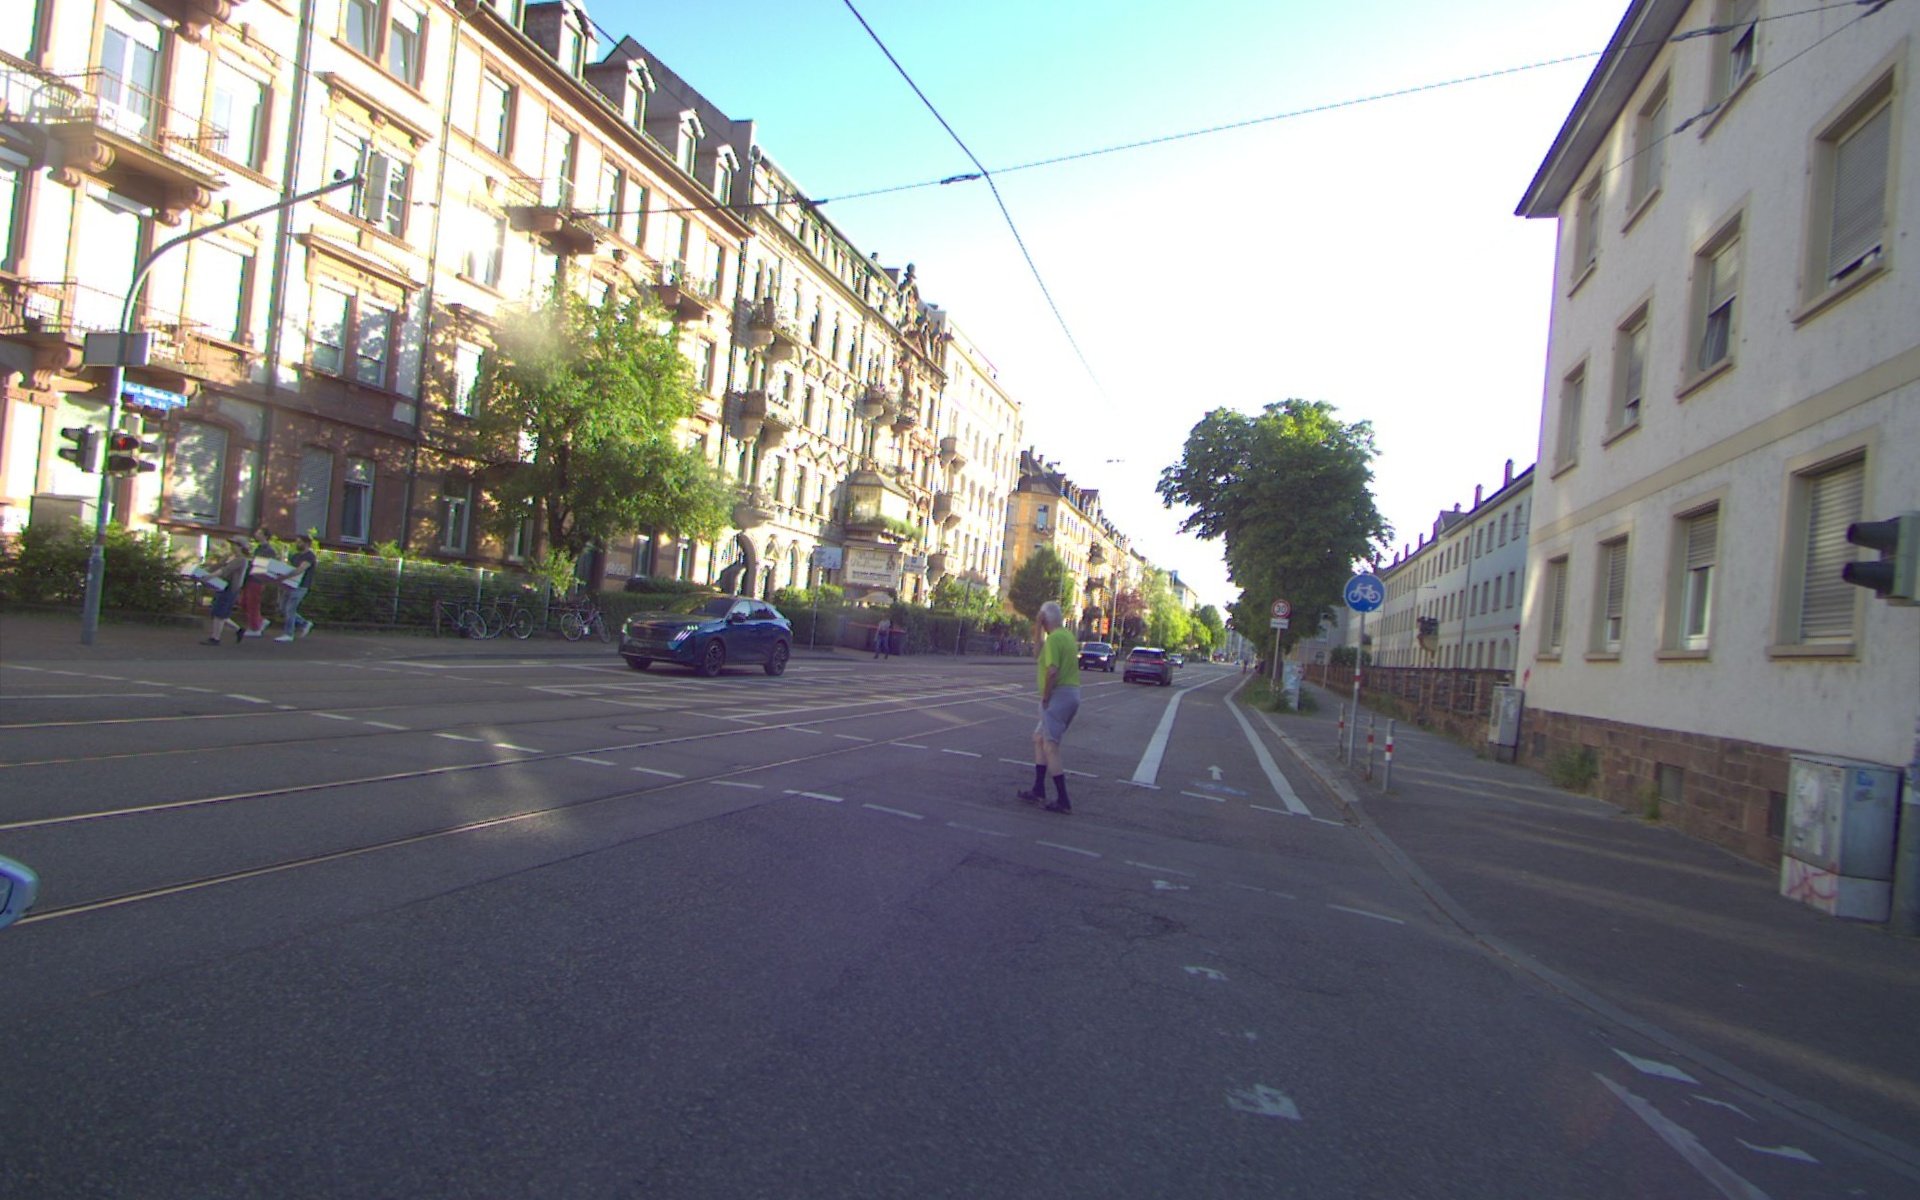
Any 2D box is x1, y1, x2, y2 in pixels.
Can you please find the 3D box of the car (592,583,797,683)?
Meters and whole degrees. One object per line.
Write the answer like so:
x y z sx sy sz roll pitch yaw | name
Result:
-5.276 0.719 20.715 1.912 1.669 4.413 5 -2 17 | car

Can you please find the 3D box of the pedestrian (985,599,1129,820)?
0.826 0.929 8.745 0.638 1.748 0.882 9 0 -28 | pedestrian

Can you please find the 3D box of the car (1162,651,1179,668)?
22.412 6.294 107.151 1.569 1.630 3.604 6 -2 13 | car

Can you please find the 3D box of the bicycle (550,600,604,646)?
-9.479 0.581 24.959 0.435 1.051 1.233 6 -1 22 | bicycle

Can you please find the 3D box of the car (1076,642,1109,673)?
7.459 3.219 56.457 1.507 1.542 3.480 6 -2 11 | car

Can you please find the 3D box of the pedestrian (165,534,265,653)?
-11.392 -0.085 15.396 0.701 1.685 0.896 9 1 34 | pedestrian

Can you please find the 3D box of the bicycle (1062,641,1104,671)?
9.919 4.499 81.106 3.184 2.041 0.932 6 0 12 | bicycle

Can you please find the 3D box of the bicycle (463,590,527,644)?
-10.399 0.393 22.525 0.435 1.121 1.233 6 -1 23 | bicycle

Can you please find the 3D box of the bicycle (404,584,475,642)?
-10.966 0.293 21.222 0.435 1.121 1.233 6 0 23 | bicycle

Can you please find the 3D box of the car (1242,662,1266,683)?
24.544 6.024 84.143 1.569 1.556 3.895 6 -2 13 | car

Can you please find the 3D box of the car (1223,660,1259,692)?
14.702 3.936 52.768 1.523 1.457 3.840 6 -2 13 | car

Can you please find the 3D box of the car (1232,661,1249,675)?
28.473 6.880 102.174 1.417 1.263 3.317 6 -2 18 | car

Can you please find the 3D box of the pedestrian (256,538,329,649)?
-11.154 -0.099 16.819 0.652 1.736 0.635 8 1 30 | pedestrian

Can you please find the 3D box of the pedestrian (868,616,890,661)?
-3.131 1.493 38.806 0.517 1.661 0.494 5 0 28 | pedestrian

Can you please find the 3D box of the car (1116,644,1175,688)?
8.073 2.840 43.502 1.939 1.604 4.477 5 -2 17 | car

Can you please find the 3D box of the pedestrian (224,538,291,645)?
-11.835 -0.136 16.946 0.512 1.736 0.635 5 -1 30 | pedestrian
